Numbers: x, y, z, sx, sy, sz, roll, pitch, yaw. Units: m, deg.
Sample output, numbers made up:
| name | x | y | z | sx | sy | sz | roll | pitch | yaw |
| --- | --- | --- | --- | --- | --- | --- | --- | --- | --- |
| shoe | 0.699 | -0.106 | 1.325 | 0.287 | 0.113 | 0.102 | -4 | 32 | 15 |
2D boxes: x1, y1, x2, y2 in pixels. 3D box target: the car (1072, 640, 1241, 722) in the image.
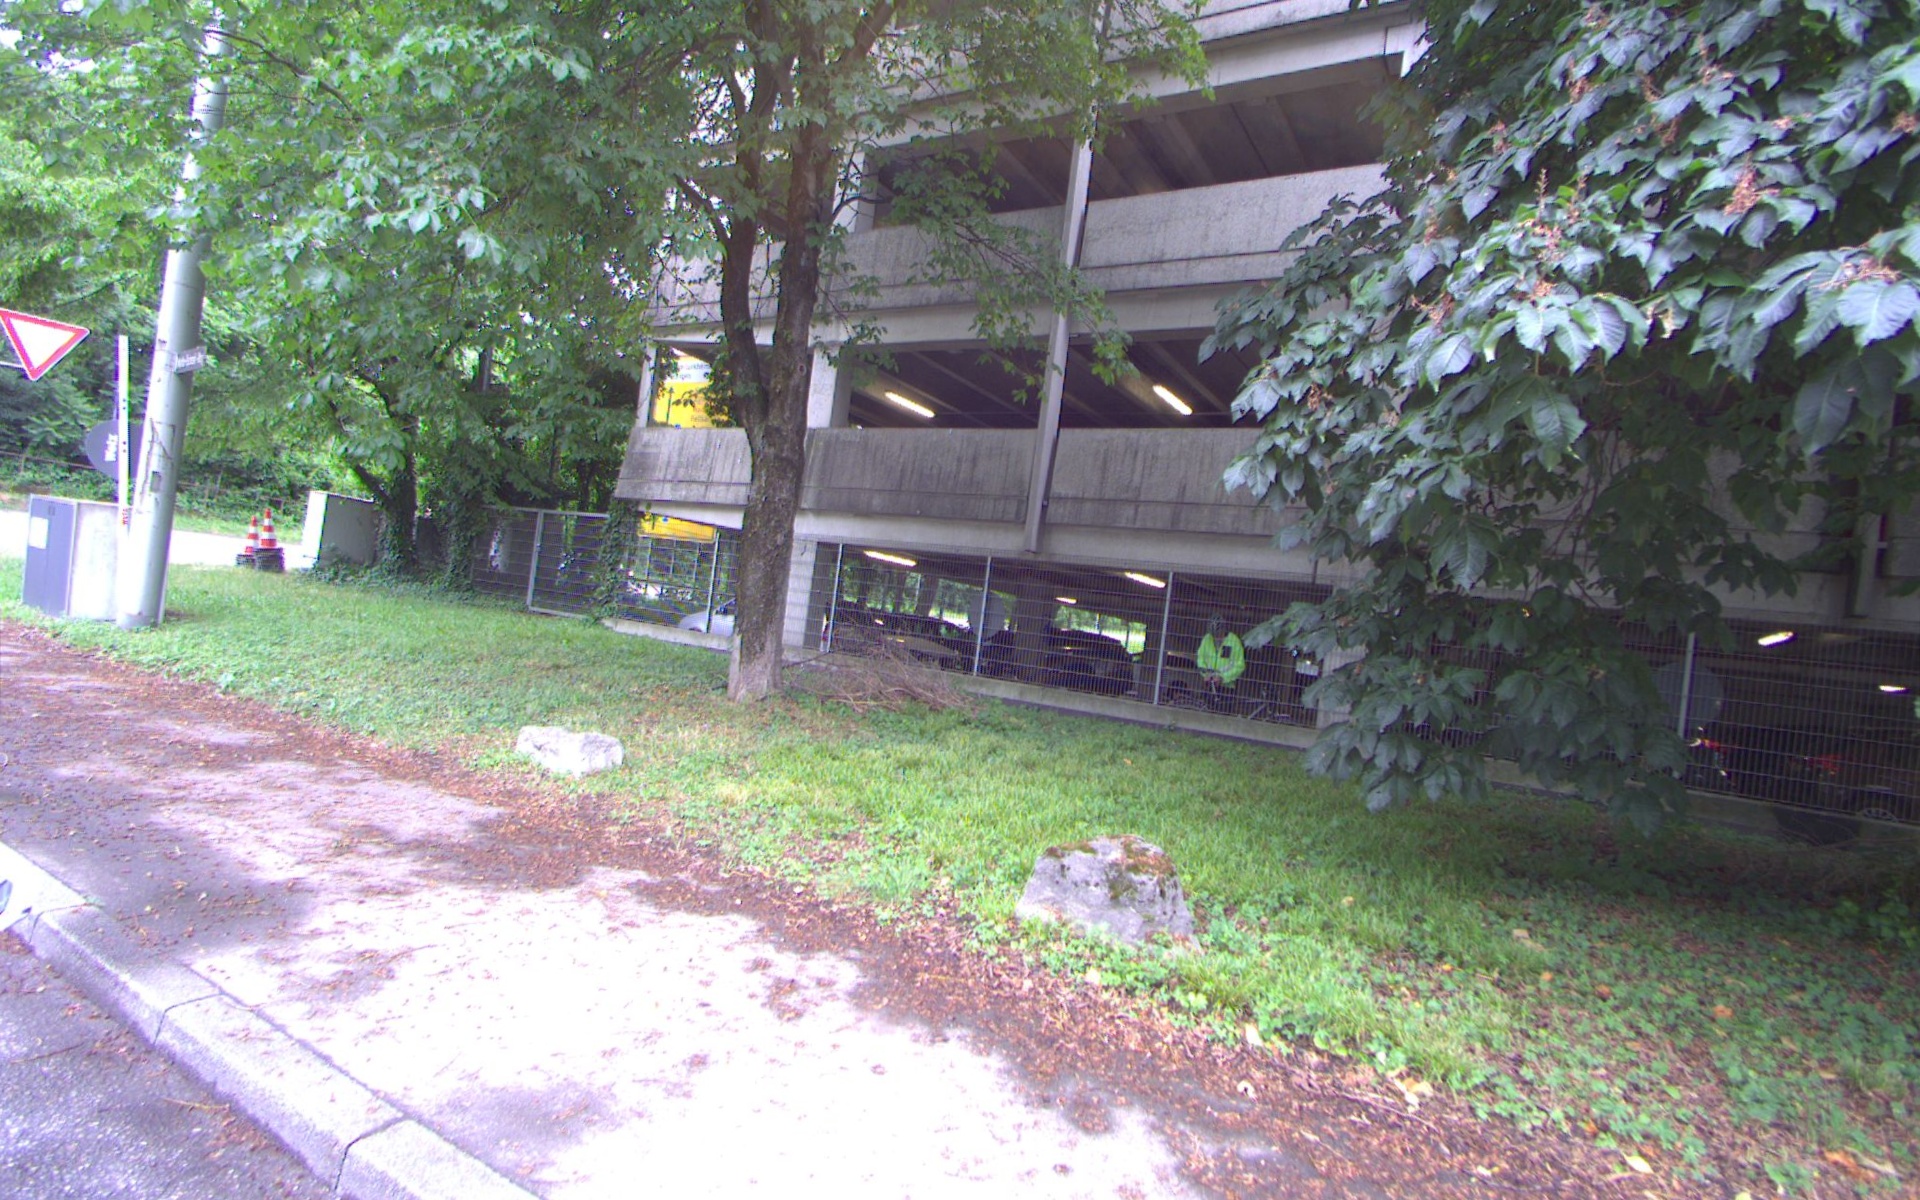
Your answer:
| name | x | y | z | sx | sy | sz | roll | pitch | yaw |
| --- | --- | --- | --- | --- | --- | --- | --- | --- | --- |
| car | 6.138 | 2.526 | 31.559 | 4.658 | 1.855 | 1.923 | 6 | -3 | 33 |

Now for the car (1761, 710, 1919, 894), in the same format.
| name | x | y | z | sx | sy | sz | roll | pitch | yaw |
| --- | --- | --- | --- | --- | --- | --- | --- | --- | --- |
| car | 12.671 | 2.663 | 12.474 | 3.935 | 2.036 | 1.997 | 5 | -3 | 33 |

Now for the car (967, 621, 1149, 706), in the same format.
| name | x | y | z | sx | sy | sz | roll | pitch | yaw |
| --- | --- | --- | --- | --- | --- | --- | --- | --- | --- |
| car | 2.435 | 1.578 | 25.159 | 3.934 | 1.569 | 1.998 | 5 | -3 | 32 |

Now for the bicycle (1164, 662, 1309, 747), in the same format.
| name | x | y | z | sx | sy | sz | roll | pitch | yaw |
| --- | --- | --- | --- | --- | --- | --- | --- | --- | --- |
| bicycle | 3.119 | 1.172 | 11.385 | 1.469 | 0.744 | 0.448 | 6 | -3 | 24 |

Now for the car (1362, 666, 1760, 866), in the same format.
| name | x | y | z | sx | sy | sz | roll | pitch | yaw |
| --- | --- | --- | --- | --- | --- | --- | --- | --- | --- |
| car | 8.620 | 2.298 | 14.842 | 4.597 | 2.036 | 1.998 | 5 | -3 | 31 |

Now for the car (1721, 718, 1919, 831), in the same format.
| name | x | y | z | sx | sy | sz | roll | pitch | yaw |
| --- | --- | --- | --- | --- | --- | --- | --- | --- | --- |
| car | 16.600 | 3.250 | 18.657 | 3.640 | 1.625 | 1.721 | 5 | -3 | 30 |

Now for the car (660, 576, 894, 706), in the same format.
| name | x | y | z | sx | sy | sz | roll | pitch | yaw |
| --- | --- | --- | --- | --- | --- | --- | --- | --- | --- |
| car | -3.112 | 0.663 | 16.903 | 3.658 | 1.727 | 1.484 | 5 | -3 | 32 |

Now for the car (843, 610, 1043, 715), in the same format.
| name | x | y | z | sx | sy | sz | roll | pitch | yaw |
| --- | --- | --- | --- | --- | --- | --- | --- | --- | --- |
| car | -0.373 | 1.286 | 20.886 | 3.658 | 1.682 | 1.734 | 5 | -3 | 32 |

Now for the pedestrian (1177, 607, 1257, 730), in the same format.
| name | x | y | z | sx | sy | sz | roll | pitch | yaw |
| --- | --- | --- | --- | --- | --- | --- | --- | --- | --- |
| pedestrian | 3.009 | 0.803 | 11.738 | 0.626 | 1.332 | 0.642 | 5 | -3 | 31 |

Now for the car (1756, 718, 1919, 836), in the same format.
| name | x | y | z | sx | sy | sz | roll | pitch | yaw |
| --- | --- | --- | --- | --- | --- | --- | --- | --- | --- |
| car | 15.611 | 2.999 | 16.522 | 3.640 | 1.625 | 1.721 | 5 | -3 | 30 |

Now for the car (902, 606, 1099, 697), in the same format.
| name | x | y | z | sx | sy | sz | roll | pitch | yaw |
| --- | --- | --- | --- | --- | --- | --- | --- | --- | --- |
| car | 0.924 | 1.183 | 23.223 | 3.934 | 1.569 | 1.998 | 5 | -3 | 32 |

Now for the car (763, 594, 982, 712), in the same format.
| name | x | y | z | sx | sy | sz | roll | pitch | yaw |
| --- | --- | --- | --- | --- | --- | --- | --- | --- | --- |
| car | -1.666 | 0.979 | 18.829 | 3.707 | 1.727 | 1.584 | 5 | -3 | 32 |
